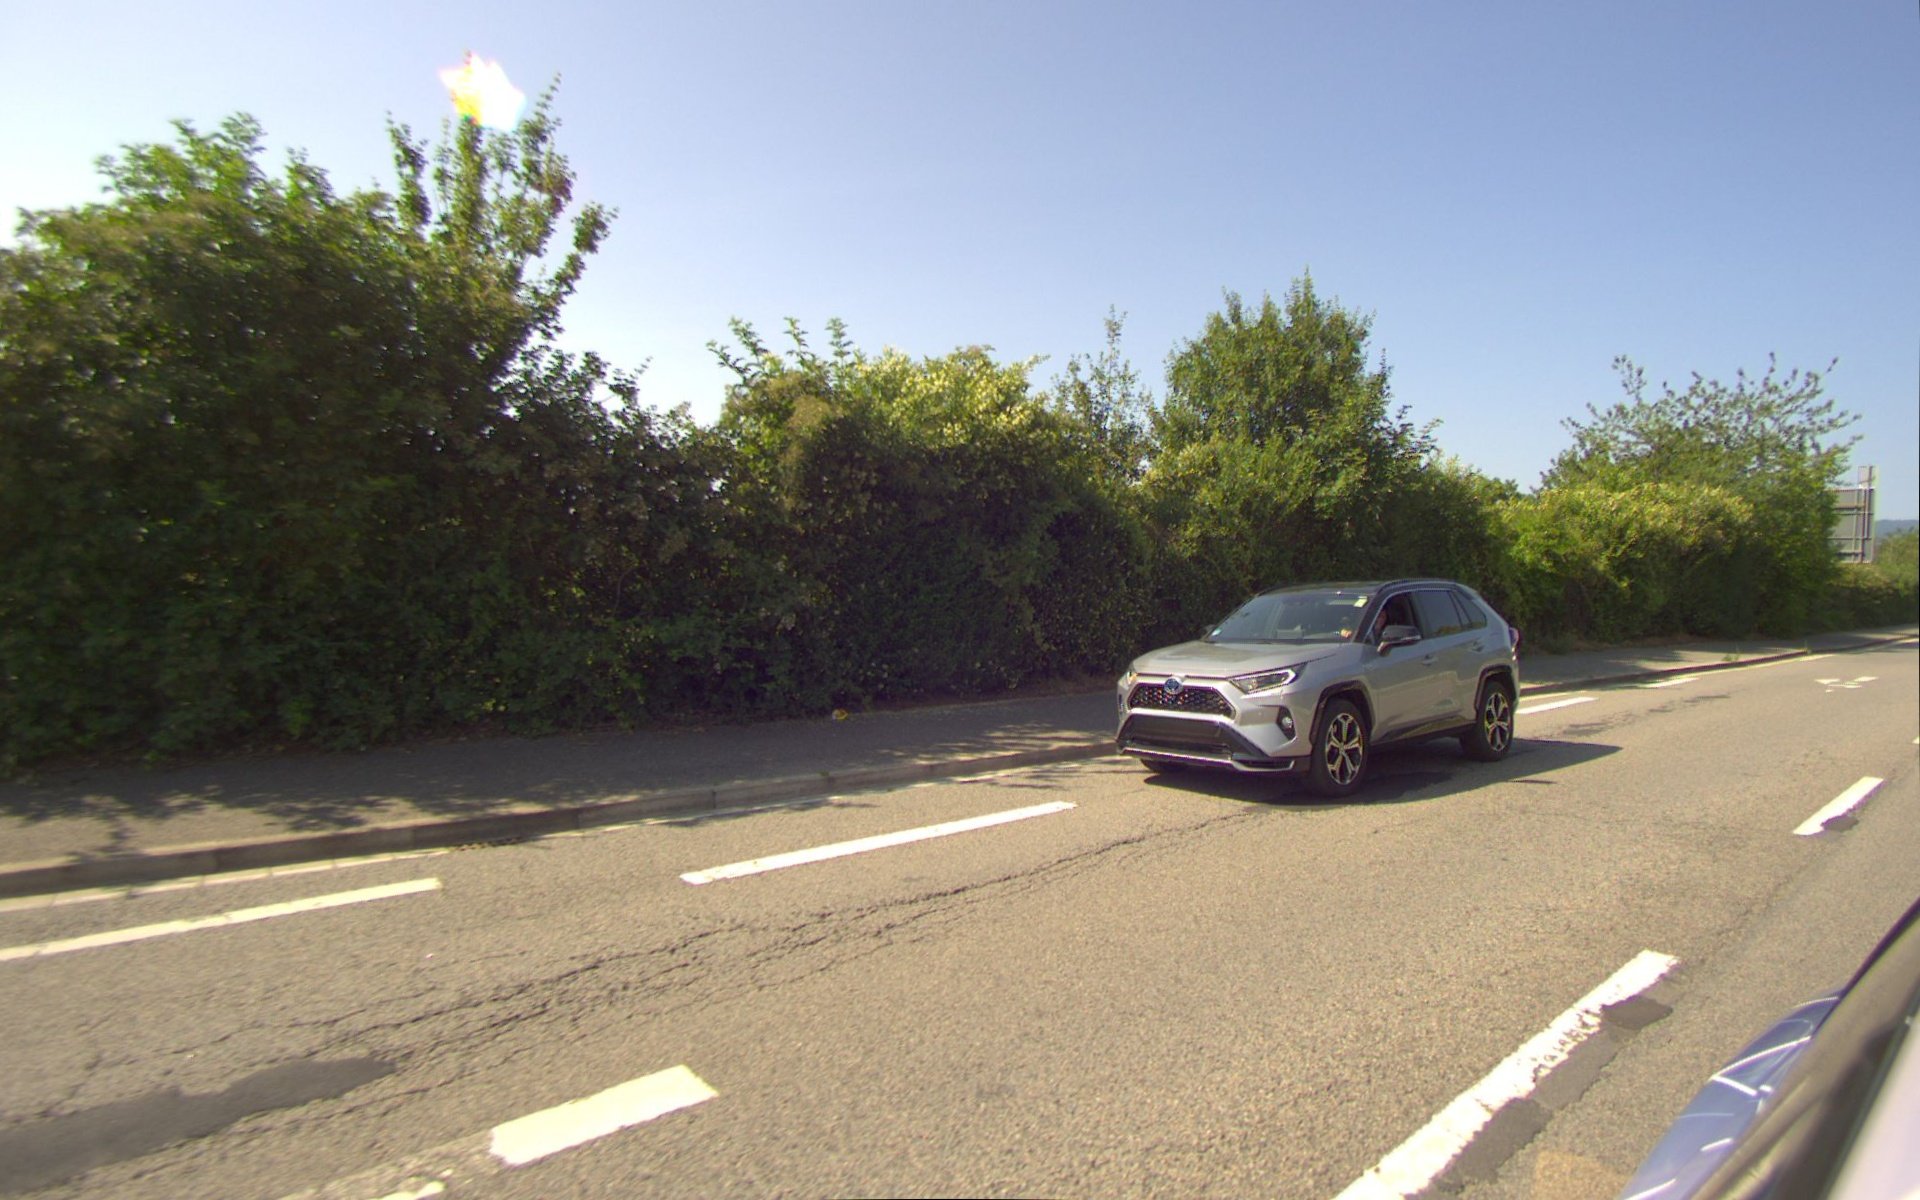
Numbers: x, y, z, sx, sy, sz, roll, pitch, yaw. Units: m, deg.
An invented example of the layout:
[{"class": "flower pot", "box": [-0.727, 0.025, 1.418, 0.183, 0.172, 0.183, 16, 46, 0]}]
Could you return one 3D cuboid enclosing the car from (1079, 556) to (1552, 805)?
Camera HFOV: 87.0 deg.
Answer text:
[{"class": "car", "box": [3.367, 0.536, 9.115, 4.599, 1.701, 1.906, 0, 0, -39]}]
